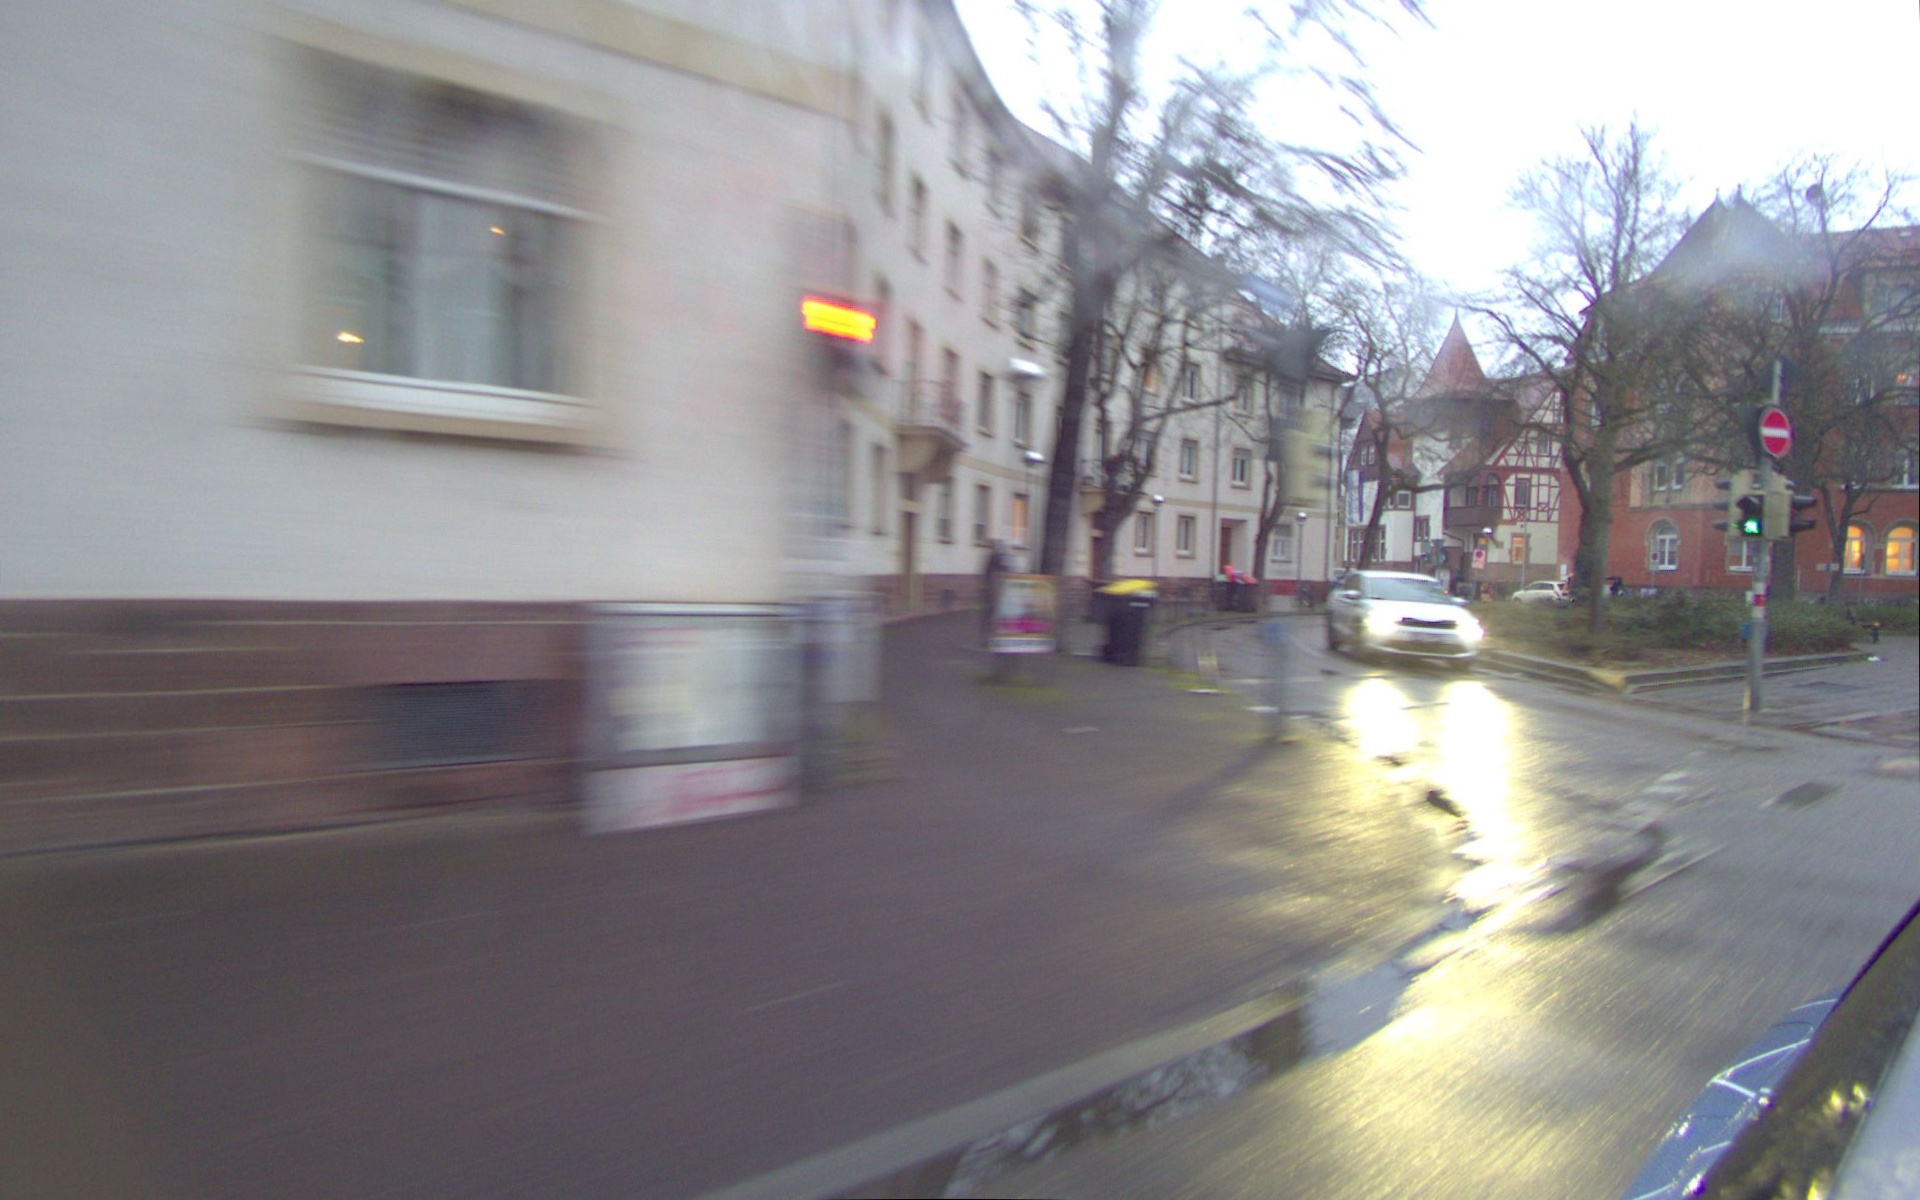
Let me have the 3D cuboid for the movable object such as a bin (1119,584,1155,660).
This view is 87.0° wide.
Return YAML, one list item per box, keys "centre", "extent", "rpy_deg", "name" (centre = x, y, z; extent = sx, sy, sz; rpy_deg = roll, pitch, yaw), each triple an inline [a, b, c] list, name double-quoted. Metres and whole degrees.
- centre: [2.707, 0.332, 15.478]
  extent: [0.530, 1.134, 0.699]
  rpy_deg: [0, -1, 11]
  name: "movable object such as a bin"

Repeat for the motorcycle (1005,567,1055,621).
- centre: [1.580, -0.151, 22.634]
  extent: [0.563, 1.119, 1.591]
  rpy_deg: [5, 3, 22]
  name: "motorcycle"

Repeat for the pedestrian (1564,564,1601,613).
- centre: [24.434, -0.472, 39.750]
  extent: [0.798, 1.886, 0.879]
  rpy_deg: [2, 2, -4]
  name: "pedestrian"

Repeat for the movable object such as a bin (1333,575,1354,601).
- centre: [15.029, -0.464, 39.627]
  extent: [0.640, 0.992, 0.527]
  rpy_deg: [0, 2, -43]
  name: "movable object such as a bin"

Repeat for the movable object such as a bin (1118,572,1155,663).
- centre: [2.567, 0.249, 14.661]
  extent: [0.514, 1.267, 0.851]
  rpy_deg: [0, -1, 11]
  name: "movable object such as a bin"

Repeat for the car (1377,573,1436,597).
- centre: [30.221, -1.040, 68.644]
  extent: [1.613, 1.415, 4.009]
  rpy_deg: [2, 2, -11]
  name: "car"

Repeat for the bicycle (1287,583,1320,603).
- centre: [13.783, -0.264, 40.617]
  extent: [1.558, 0.775, 0.340]
  rpy_deg: [0, 2, -34]
  name: "bicycle"

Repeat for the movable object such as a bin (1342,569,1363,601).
- centre: [15.538, -0.612, 40.080]
  extent: [0.640, 1.243, 0.527]
  rpy_deg: [0, 2, -43]
  name: "movable object such as a bin"

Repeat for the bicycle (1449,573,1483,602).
- centre: [23.543, -0.588, 47.062]
  extent: [1.876, 1.307, 0.468]
  rpy_deg: [0, 2, -31]
  name: "bicycle"

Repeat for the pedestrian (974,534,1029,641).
- centre: [0.685, -0.219, 16.531]
  extent: [0.679, 1.681, 0.710]
  rpy_deg: [3, 2, 19]
  name: "pedestrian"

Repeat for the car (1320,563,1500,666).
- centre: [8.121, 0.150, 18.771]
  extent: [1.869, 1.528, 4.742]
  rpy_deg: [2, 3, 10]
  name: "car"

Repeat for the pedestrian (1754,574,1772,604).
- centre: [36.707, -0.493, 46.280]
  extent: [0.598, 1.333, 0.545]
  rpy_deg: [1, 0, -43]
  name: "pedestrian"

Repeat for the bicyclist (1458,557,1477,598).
- centre: [23.605, -1.039, 47.075]
  extent: [0.666, 1.909, 0.468]
  rpy_deg: [1, 2, -31]
  name: "bicyclist"

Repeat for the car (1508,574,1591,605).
- centre: [32.407, -0.607, 55.756]
  extent: [1.613, 1.514, 4.009]
  rpy_deg: [2, 2, -11]
  name: "car"

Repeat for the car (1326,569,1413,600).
- centre: [22.281, -0.866, 55.201]
  extent: [3.922, 1.504, 1.853]
  rpy_deg: [2, 2, -3]
  name: "car"
